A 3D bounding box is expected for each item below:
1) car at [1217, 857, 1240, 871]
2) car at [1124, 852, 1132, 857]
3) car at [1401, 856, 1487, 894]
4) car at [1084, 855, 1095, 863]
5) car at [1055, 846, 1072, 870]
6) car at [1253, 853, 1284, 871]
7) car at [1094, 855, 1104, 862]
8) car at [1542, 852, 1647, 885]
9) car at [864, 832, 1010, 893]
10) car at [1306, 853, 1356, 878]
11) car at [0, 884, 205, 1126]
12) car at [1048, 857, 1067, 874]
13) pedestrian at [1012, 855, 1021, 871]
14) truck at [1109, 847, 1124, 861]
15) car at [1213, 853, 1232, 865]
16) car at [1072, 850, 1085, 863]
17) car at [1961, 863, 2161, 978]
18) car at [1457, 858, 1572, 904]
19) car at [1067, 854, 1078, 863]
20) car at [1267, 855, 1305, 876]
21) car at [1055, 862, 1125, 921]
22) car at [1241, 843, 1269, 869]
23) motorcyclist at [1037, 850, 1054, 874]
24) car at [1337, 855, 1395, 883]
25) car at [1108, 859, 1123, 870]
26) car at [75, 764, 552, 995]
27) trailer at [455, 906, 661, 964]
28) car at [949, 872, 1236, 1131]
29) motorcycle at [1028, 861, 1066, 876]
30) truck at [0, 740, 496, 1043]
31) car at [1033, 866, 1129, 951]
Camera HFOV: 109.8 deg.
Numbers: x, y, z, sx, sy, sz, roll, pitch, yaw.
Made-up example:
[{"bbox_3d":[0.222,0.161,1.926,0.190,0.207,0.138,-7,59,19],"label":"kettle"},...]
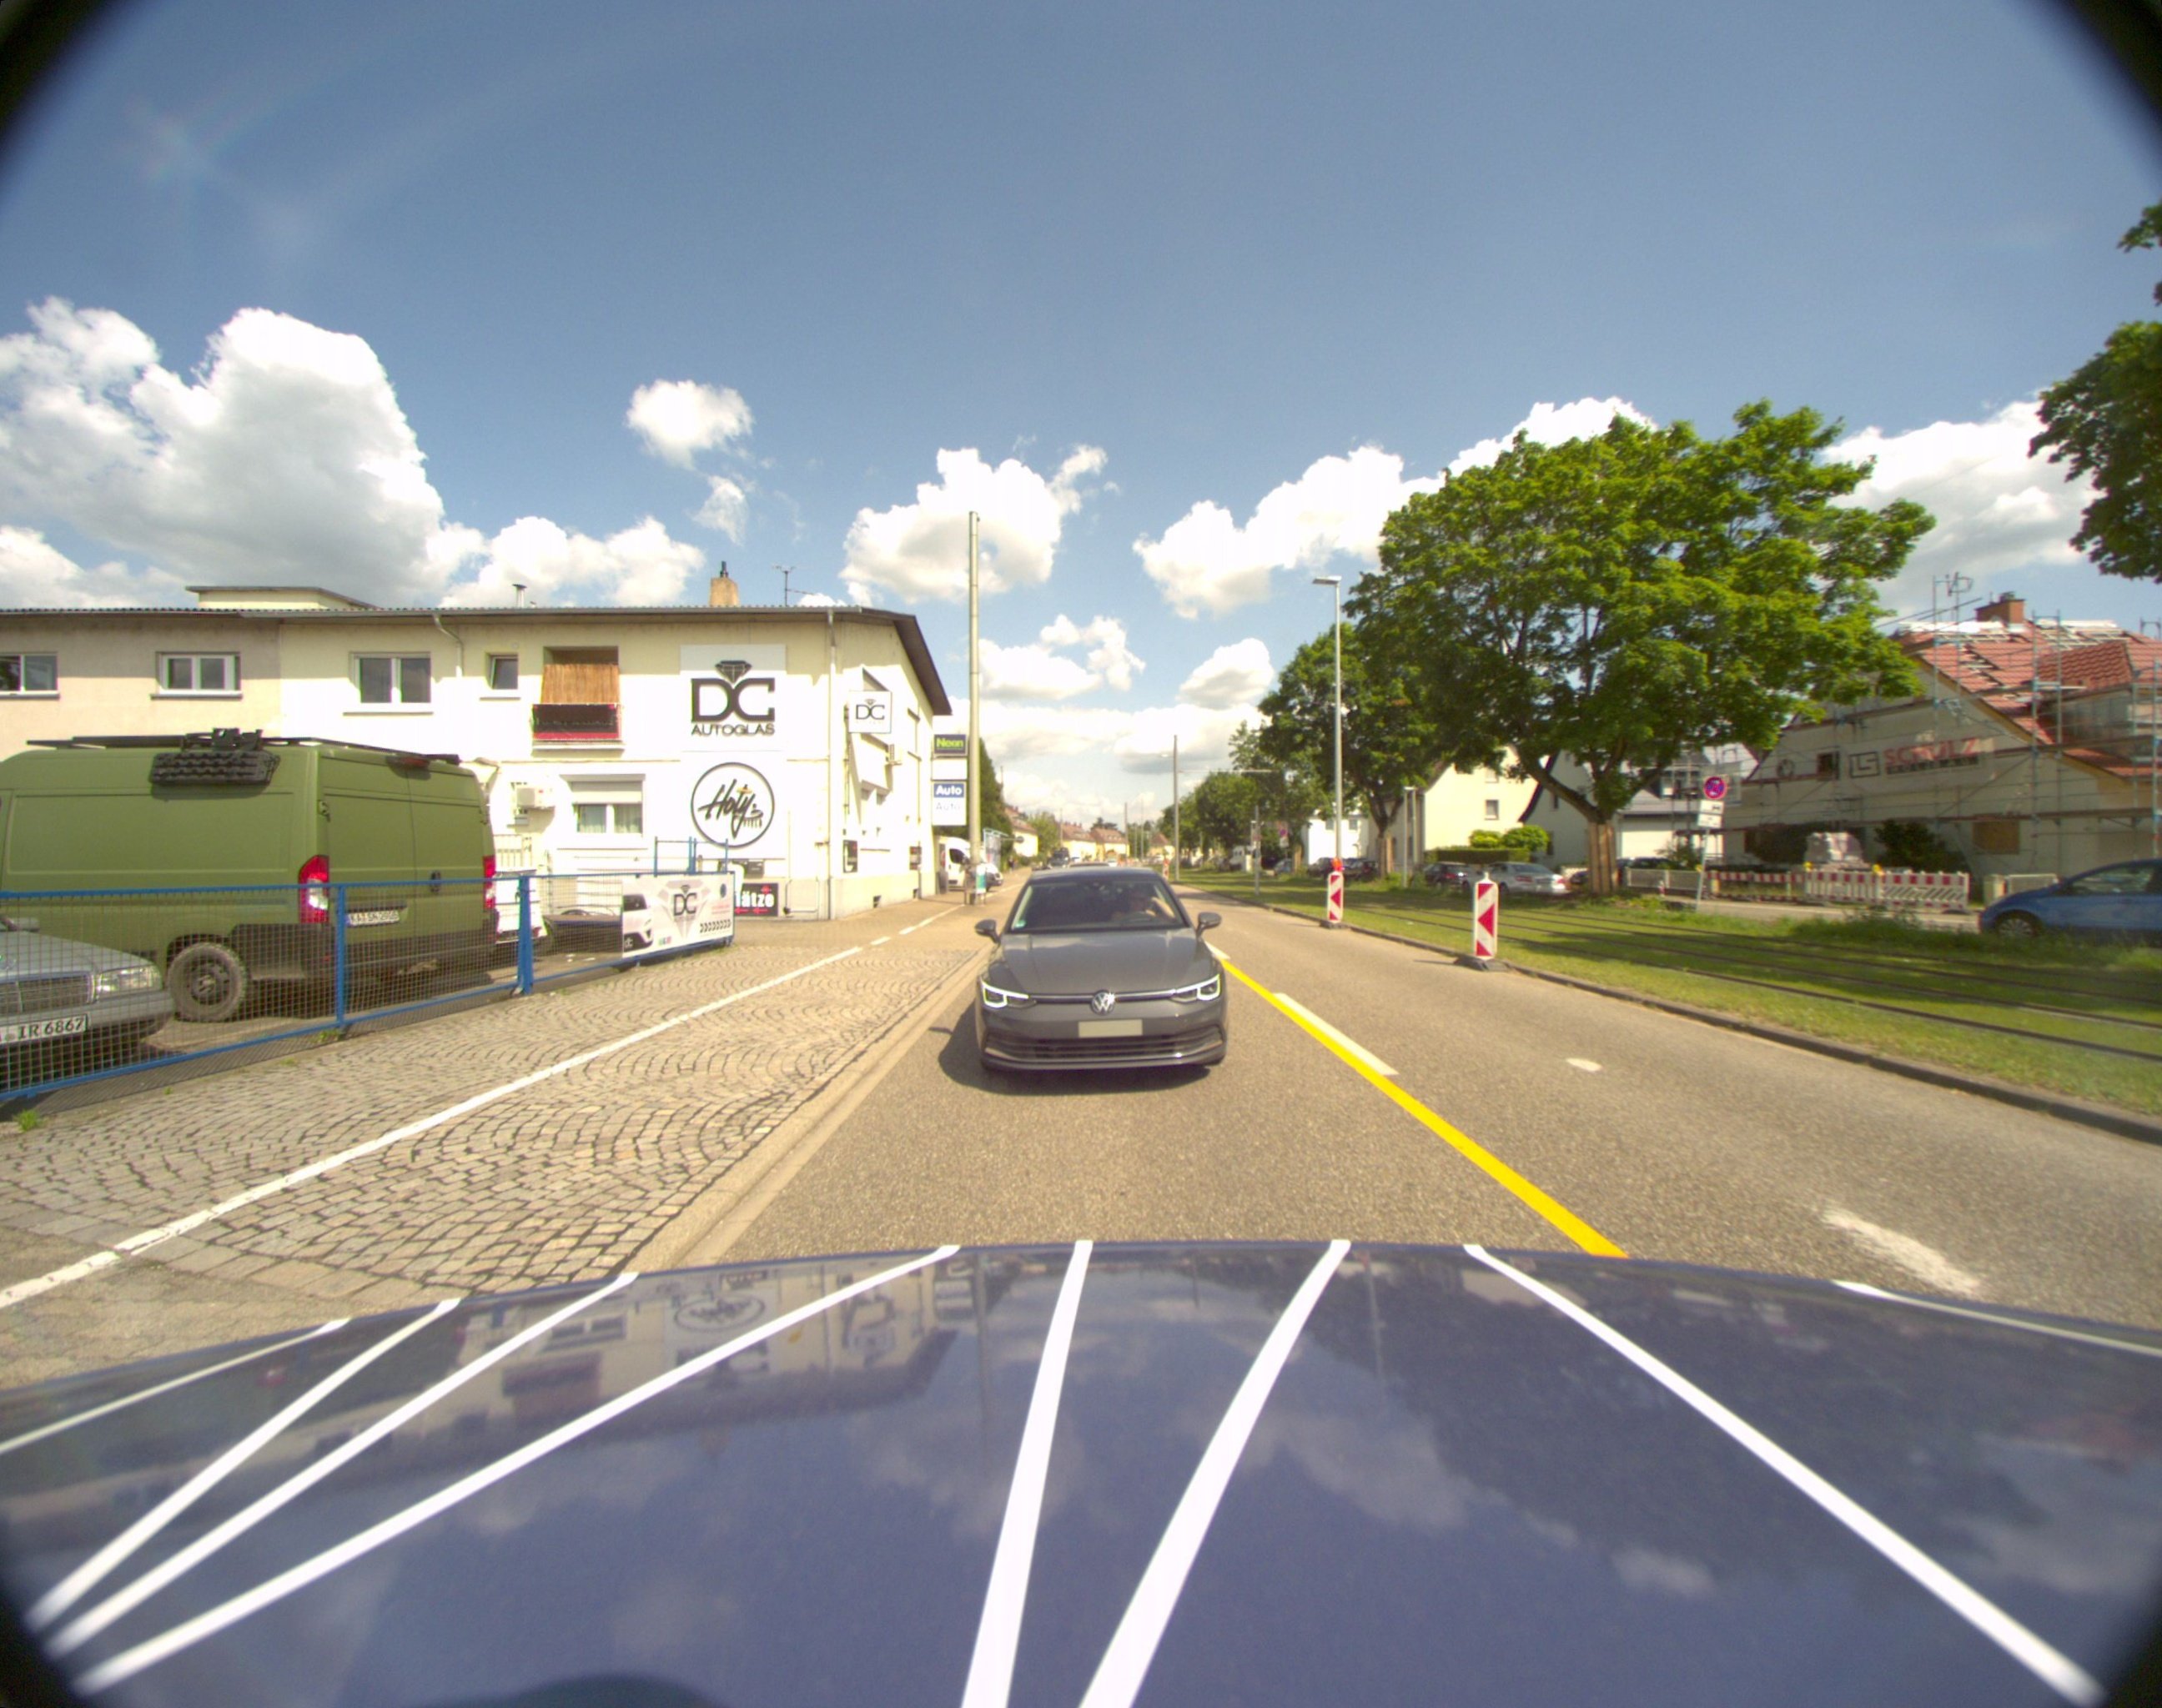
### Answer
[{"bbox_3d":[16.928,1.147,87.263,1.755,1.602,4.606,0,0,0],"label":"car"},{"bbox_3d":[13.528,0.229,218.470,1.718,1.470,4.013,0,0,13],"label":"car"},{"bbox_3d":[16.585,0.913,35.022,1.755,1.602,4.606,0,0,0],"label":"car"},{"bbox_3d":[1.811,0.983,155.295,1.718,1.470,4.011,0,0,8],"label":"car"},{"bbox_3d":[-1.922,0.407,82.786,1.720,2.526,5.794,0,0,0],"label":"car"},{"bbox_3d":[17.580,0.751,71.489,1.755,1.602,4.606,0,0,0],"label":"car"},{"bbox_3d":[4.102,0.990,172.729,1.718,1.470,4.011,0,0,8],"label":"car"},{"bbox_3d":[25.507,0.716,37.825,4.047,1.602,1.757,0,0,1],"label":"car"},{"bbox_3d":[-6.360,0.358,33.992,5.982,2.362,2.000,3,0,3],"label":"car"},{"bbox_3d":[16.674,0.760,50.900,1.755,1.602,4.606,0,0,0],"label":"car"},{"bbox_3d":[-8.442,0.916,4.803,4.206,1.388,1.804,0,0,8],"label":"car"},{"bbox_3d":[-2.165,1.063,70.980,1.720,1.470,4.009,0,0,0],"label":"car"},{"bbox_3d":[-6.414,0.870,75.196,0.816,1.577,0.918,0,0,1],"label":"pedestrian"},{"bbox_3d":[9.402,0.016,201.128,2.590,3.431,8.585,0,0,11],"label":"truck"},{"bbox_3d":[19.954,0.702,107.165,1.755,1.602,4.606,0,0,0],"label":"car"},{"bbox_3d":[-0.433,0.395,136.315,1.719,2.360,5.211,0,0,5],"label":"car"},{"bbox_3d":[16.223,0.955,11.225,1.755,1.602,4.050,0,0,0],"label":"car"},{"bbox_3d":[16.384,0.961,29.000,1.755,1.602,4.606,0,0,0],"label":"car"},{"bbox_3d":[-1.369,0.734,122.952,1.720,1.470,4.009,0,0,0],"label":"car"},{"bbox_3d":[16.490,0.912,61.349,1.755,1.602,4.606,0,0,0],"label":"car"},{"bbox_3d":[0.265,0.985,21.485,1.787,1.470,4.009,0,0,1],"label":"car"},{"bbox_3d":[17.641,0.192,77.060,1.755,2.601,4.606,0,0,0],"label":"car"},{"bbox_3d":[-2.833,0.598,60.588,1.111,1.900,0.880,0,0,15],"label":"motorcyclist"},{"bbox_3d":[16.896,0.846,45.260,1.755,1.602,4.606,0,0,0],"label":"car"},{"bbox_3d":[4.289,1.305,95.787,1.719,1.405,4.262,0,0,1],"label":"car"},{"bbox_3d":[-9.460,0.300,9.645,4.209,2.653,1.803,0,0,0],"label":"car"},{"bbox_3d":[-8.067,1.235,11.829,2.329,0.762,1.269,0,0,2],"label":"trailer"},{"bbox_3d":[0.095,0.935,6.567,1.719,1.470,4.009,0,0,1],"label":"car"},{"bbox_3d":[-2.722,1.152,60.561,2.896,1.164,0.887,0,0,15],"label":"motorcycle"},{"bbox_3d":[-8.628,0.326,7.559,3.997,2.592,2.069,0,0,1],"label":"truck"},{"bbox_3d":[0.033,1.003,15.636,1.719,1.470,4.009,0,0,1],"label":"car"}]
